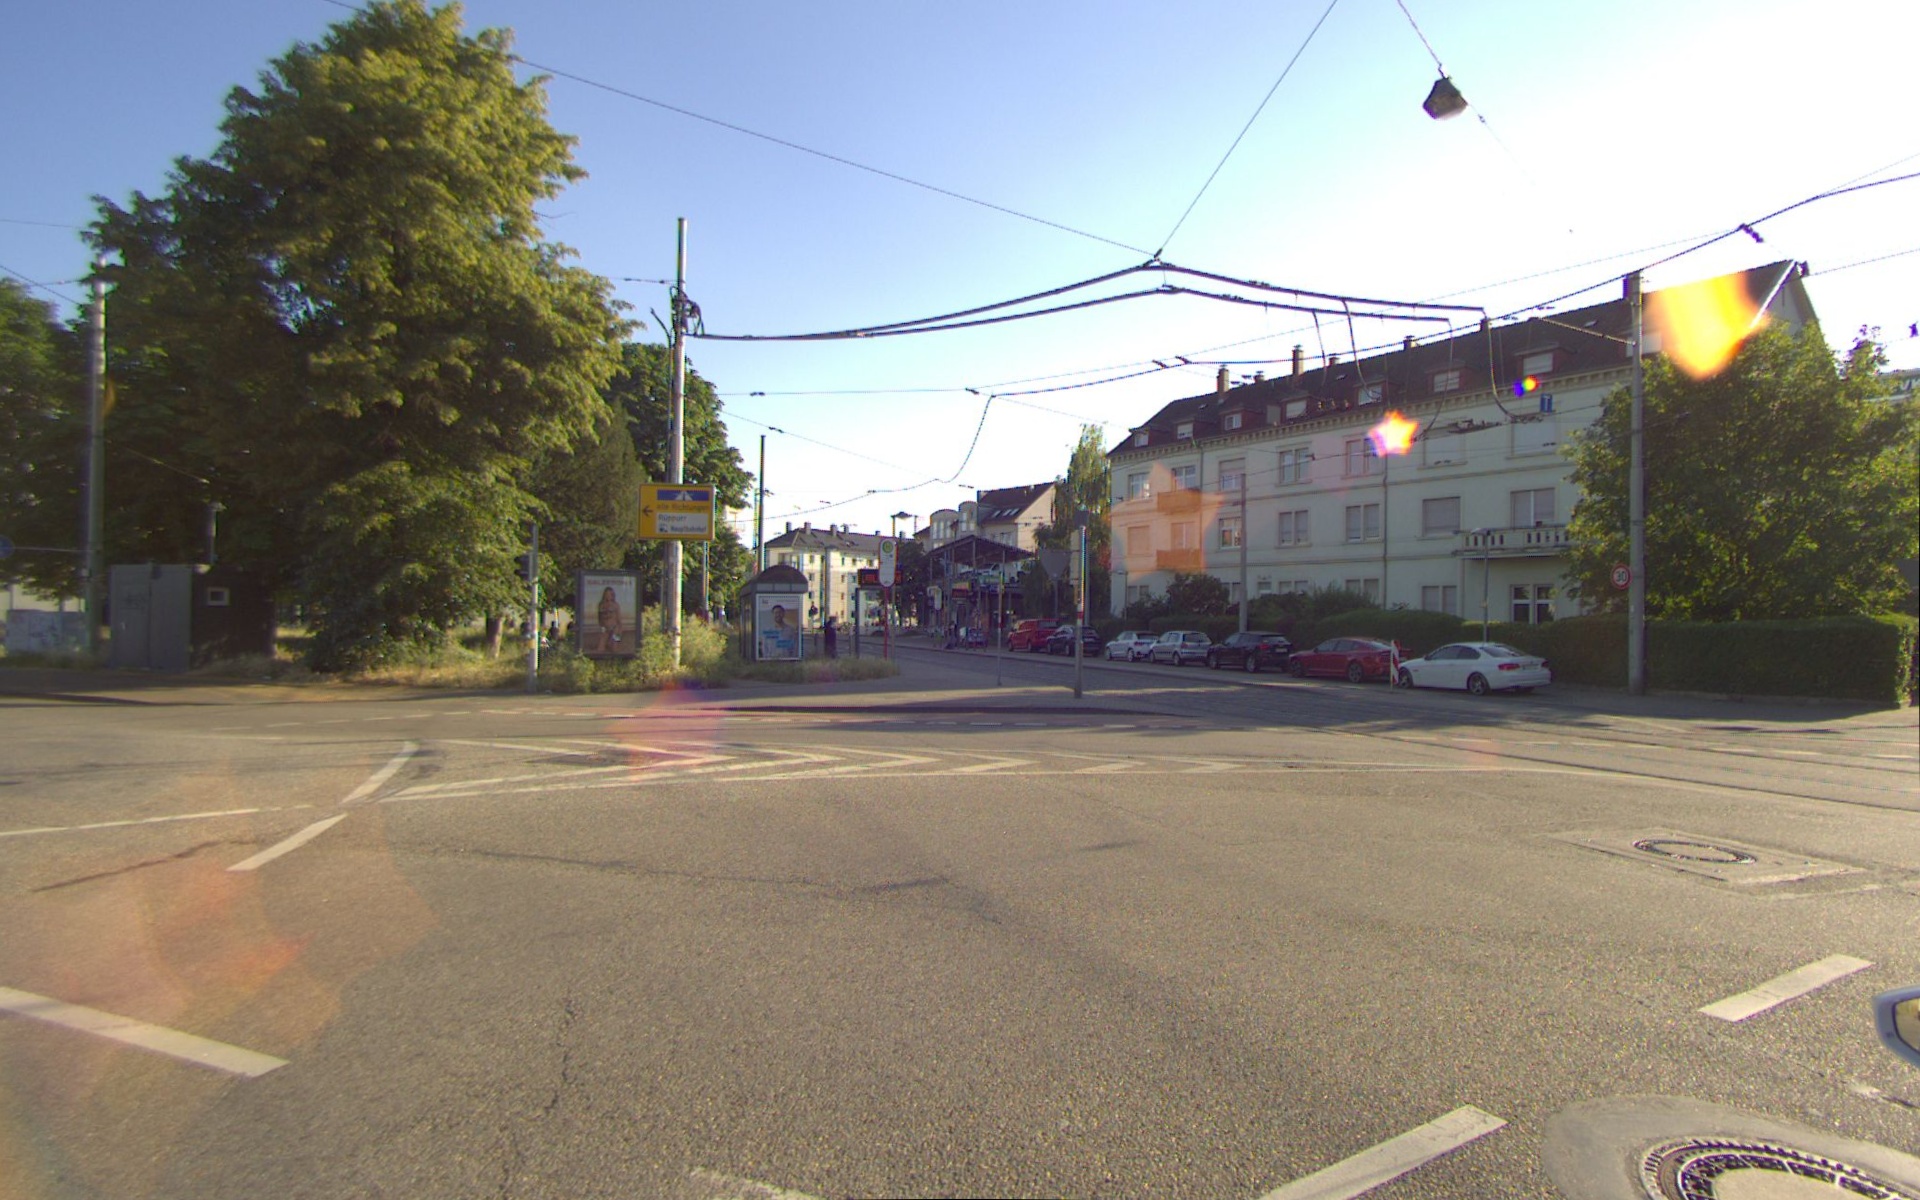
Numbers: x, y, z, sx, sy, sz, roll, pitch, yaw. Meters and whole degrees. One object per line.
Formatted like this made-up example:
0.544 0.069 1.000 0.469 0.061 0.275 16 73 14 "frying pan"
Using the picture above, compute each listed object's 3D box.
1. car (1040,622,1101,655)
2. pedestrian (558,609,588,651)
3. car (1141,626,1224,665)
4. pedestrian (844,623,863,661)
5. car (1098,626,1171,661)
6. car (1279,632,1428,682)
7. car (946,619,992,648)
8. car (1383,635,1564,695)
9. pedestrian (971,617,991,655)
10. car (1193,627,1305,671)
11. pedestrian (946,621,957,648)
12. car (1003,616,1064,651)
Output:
6.003 2.070 55.041 1.815 1.690 4.355 -1 0 -16 "car"
-14.268 1.099 37.031 0.837 1.512 0.668 0 -2 40 "pedestrian"
9.505 1.920 43.217 1.955 1.467 3.706 -1 0 -16 "car"
-4.163 1.643 39.414 0.589 1.446 0.503 1 -1 -24 "pedestrian"
8.214 2.019 47.634 1.815 1.467 3.945 -1 0 -16 "car"
12.862 1.834 33.185 1.957 1.395 4.682 -1 0 -21 "car"
0.632 2.451 75.053 2.023 1.988 5.133 -1 0 -16 "car"
14.241 1.753 28.176 1.900 1.395 4.479 -1 0 -18 "car"
1.140 1.985 55.319 0.908 2.040 0.767 1 -1 -12 "pedestrian"
11.094 1.855 38.936 1.955 1.467 4.689 -1 0 -16 "car"
-0.496 1.951 57.348 0.557 1.520 0.678 1 -1 -4 "pedestrian"
4.434 2.004 61.287 2.023 1.988 5.133 -1 0 -16 "car"
